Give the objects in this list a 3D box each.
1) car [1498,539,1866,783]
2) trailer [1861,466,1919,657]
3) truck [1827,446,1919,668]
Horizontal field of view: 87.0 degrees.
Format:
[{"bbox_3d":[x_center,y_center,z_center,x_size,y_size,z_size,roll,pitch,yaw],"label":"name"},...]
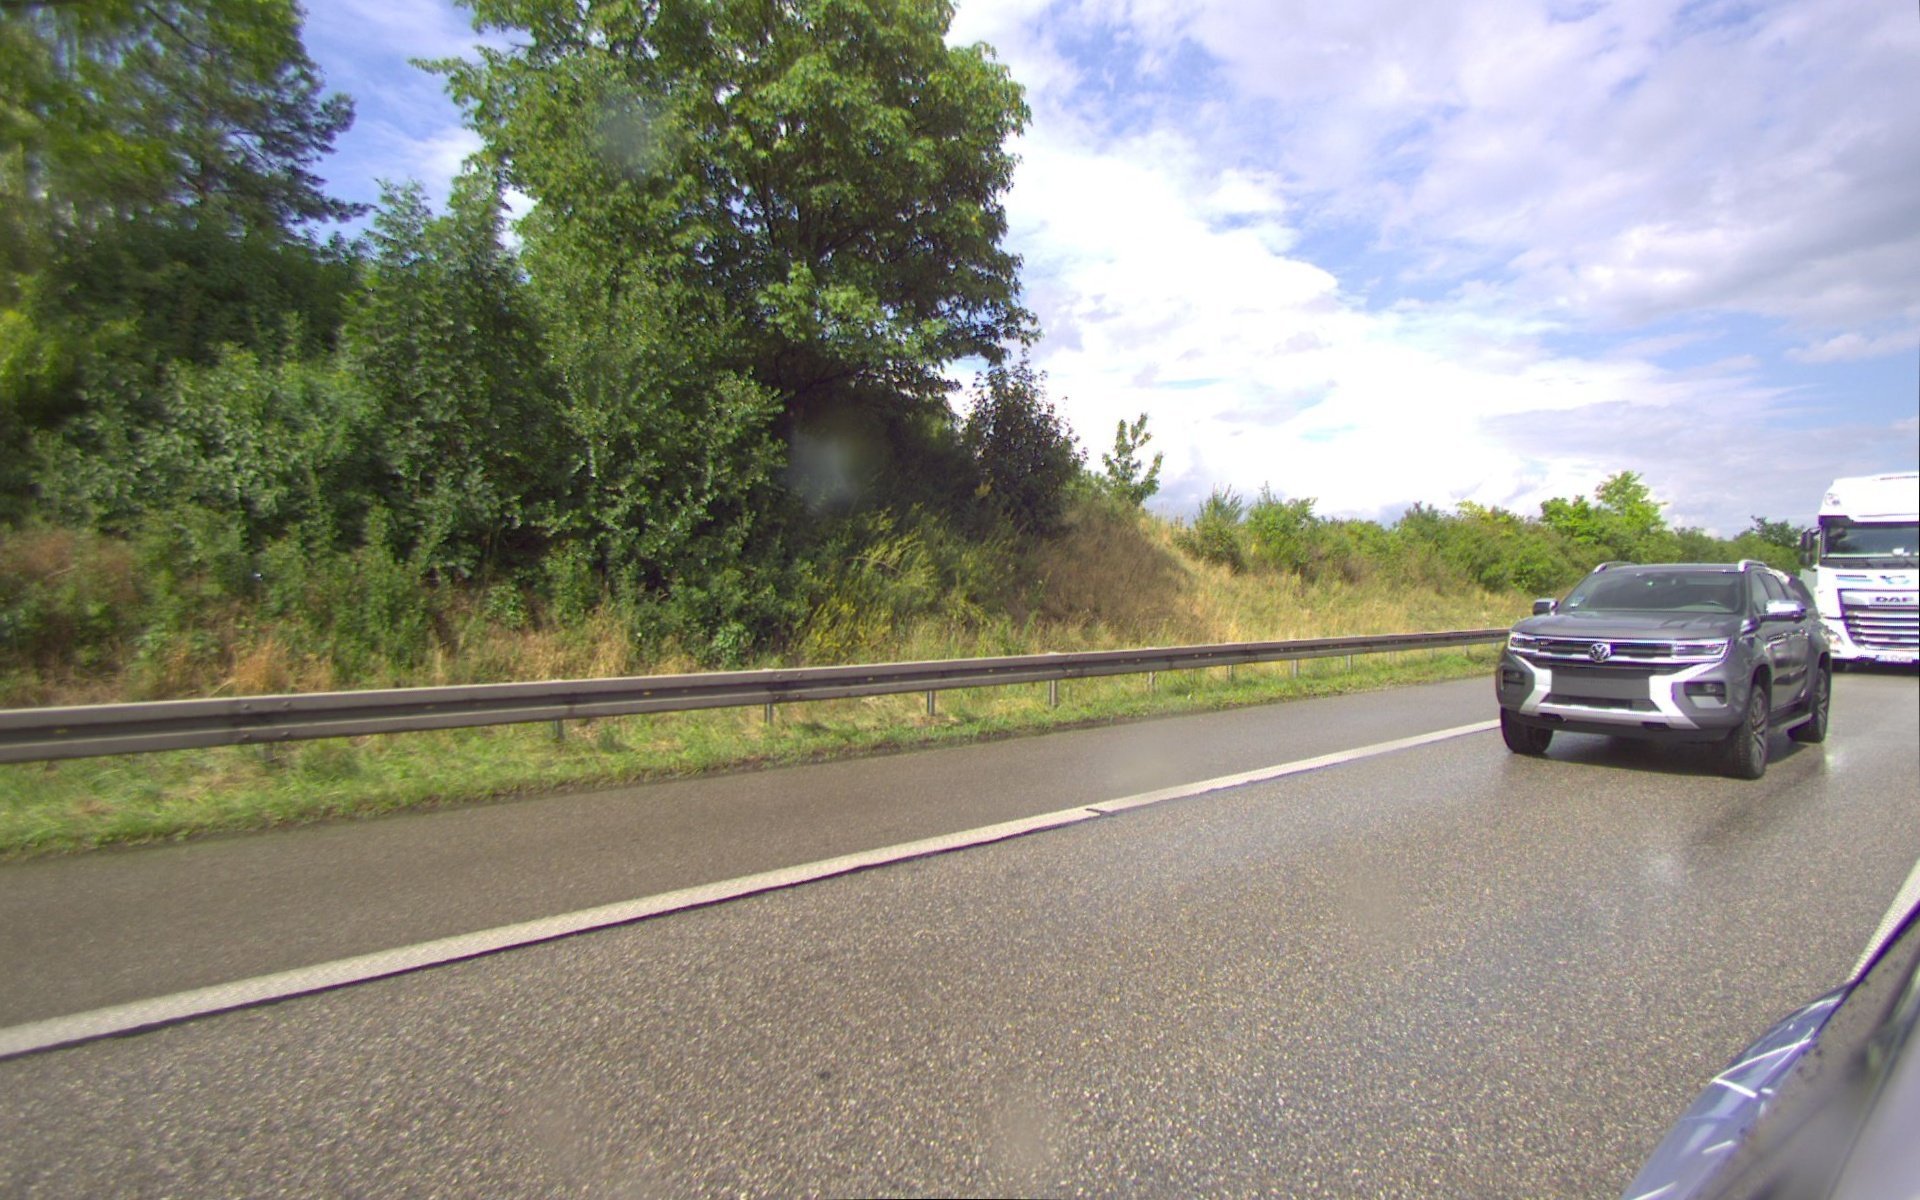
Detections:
[{"bbox_3d":[7.318,0.425,9.997,5.213,1.826,1.830,0,1,-41],"label":"car"},{"bbox_3d":[25.576,-0.889,25.828,12.005,4.171,2.448,-1,0,-42],"label":"trailer"},{"bbox_3d":[19.879,-0.814,20.793,5.240,4.156,2.458,0,0,-41],"label":"truck"}]
